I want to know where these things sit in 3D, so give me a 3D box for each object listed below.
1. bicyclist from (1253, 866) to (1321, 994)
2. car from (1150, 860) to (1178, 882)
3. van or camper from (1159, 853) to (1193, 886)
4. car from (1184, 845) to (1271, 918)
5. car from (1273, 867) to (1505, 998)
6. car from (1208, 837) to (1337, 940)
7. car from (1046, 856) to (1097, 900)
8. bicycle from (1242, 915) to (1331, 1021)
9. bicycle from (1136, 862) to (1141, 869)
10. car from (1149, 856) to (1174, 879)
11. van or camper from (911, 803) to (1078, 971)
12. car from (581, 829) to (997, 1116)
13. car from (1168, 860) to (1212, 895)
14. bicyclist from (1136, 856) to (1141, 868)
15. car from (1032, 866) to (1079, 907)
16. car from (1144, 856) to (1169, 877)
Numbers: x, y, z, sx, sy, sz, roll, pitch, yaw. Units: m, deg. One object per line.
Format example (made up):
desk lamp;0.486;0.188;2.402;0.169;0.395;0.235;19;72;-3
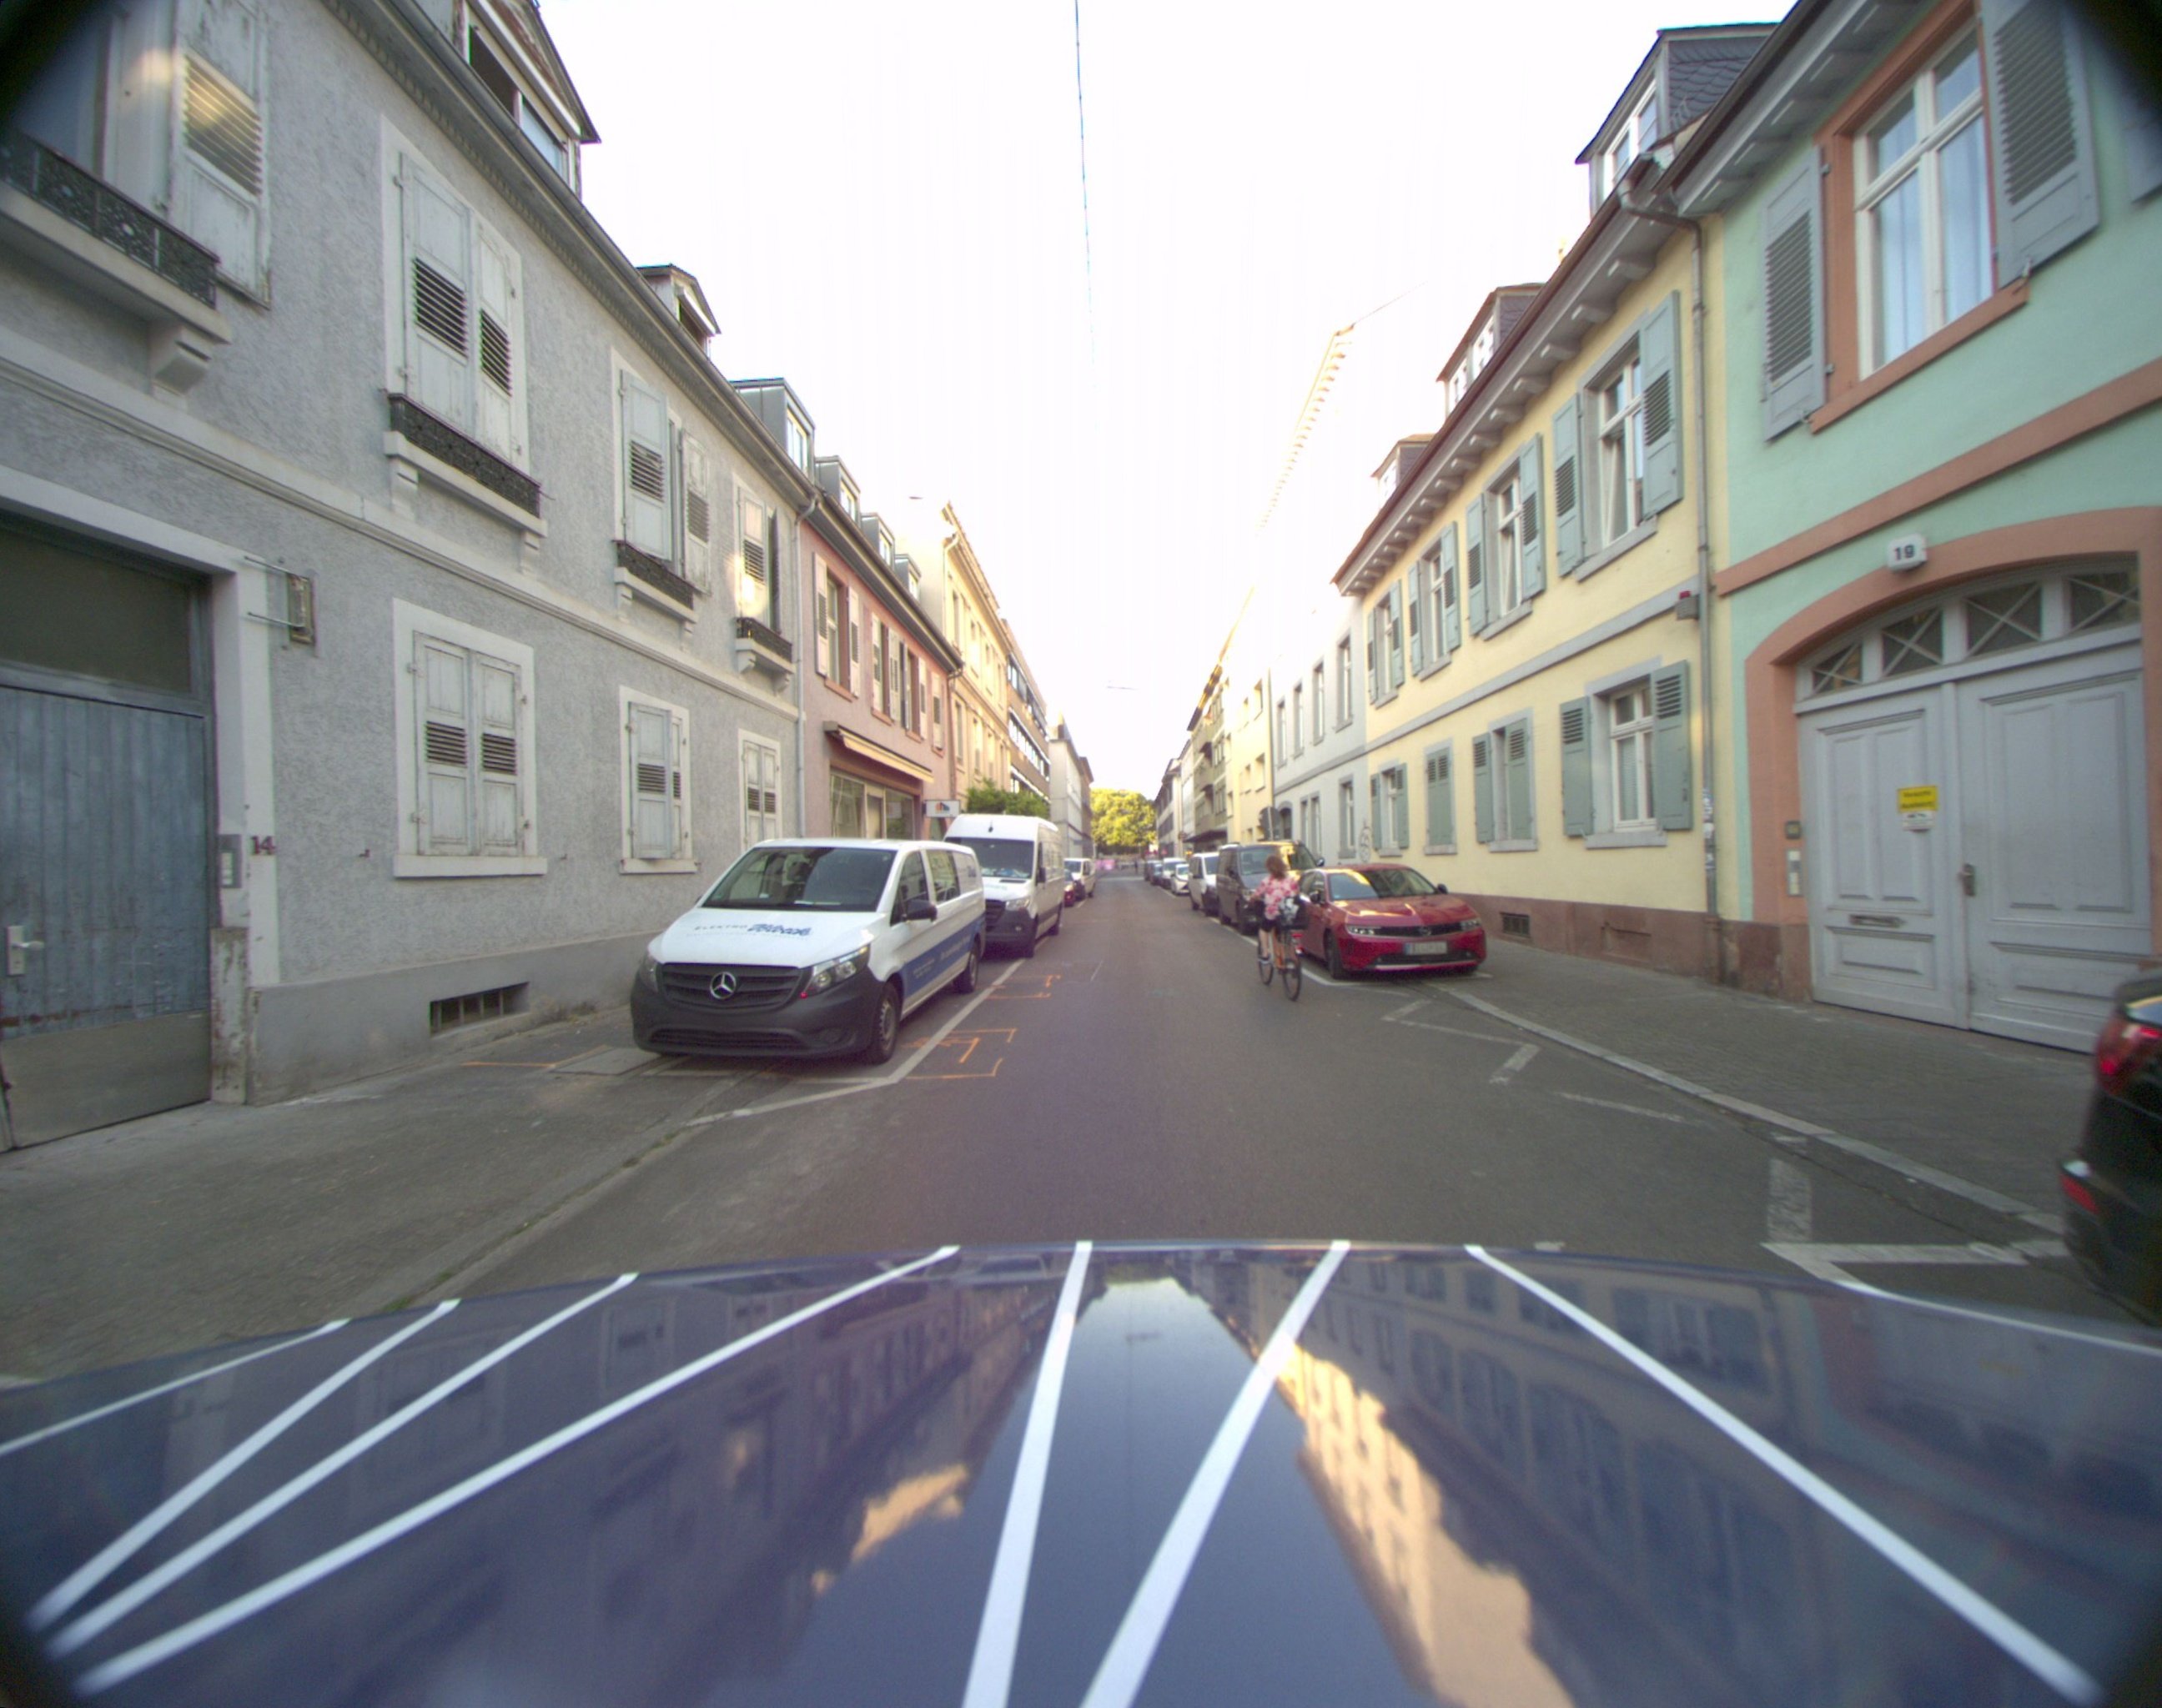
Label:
bicyclist;2.294;0.831;8.517;0.607;1.361;0.621;-2;0;6
car;5.860;1.190;53.892;1.628;1.407;3.981;-2;0;2
van or camper;5.715;0.915;46.068;1.776;1.837;4.180;-1;0;4
car;4.454;0.798;23.911;1.867;2.002;5.107;-1;0;2
car;4.034;0.937;10.787;1.769;1.393;4.264;-2;0;4
car;4.206;0.702;17.493;1.867;2.002;4.815;-1;0;2
car;-0.373;1.050;35.532;1.940;1.886;5.278;-1;0;4
bicycle;2.288;1.235;8.667;0.615;0.927;1.887;-2;0;5
bicycle;8.365;1.643;110.274;0.635;0.916;1.780;-2;0;4
car;6.764;1.126;64.219;1.776;1.800;4.511;-2;0;2
van or camper;-1.398;0.554;15.586;2.055;2.622;7.065;-1;0;4
car;-2.305;0.805;7.840;1.945;1.883;5.318;2;0;3
car;5.200;1.110;36.702;1.666;1.440;3.521;-5;0;3
bicyclist;8.349;1.140;110.251;0.625;1.630;1.082;-2;0;4
car;-0.951;1.247;30.555;1.659;1.496;3.754;-1;0;1
car;6.854;1.149;69.356;1.881;1.800;4.451;-2;0;0
